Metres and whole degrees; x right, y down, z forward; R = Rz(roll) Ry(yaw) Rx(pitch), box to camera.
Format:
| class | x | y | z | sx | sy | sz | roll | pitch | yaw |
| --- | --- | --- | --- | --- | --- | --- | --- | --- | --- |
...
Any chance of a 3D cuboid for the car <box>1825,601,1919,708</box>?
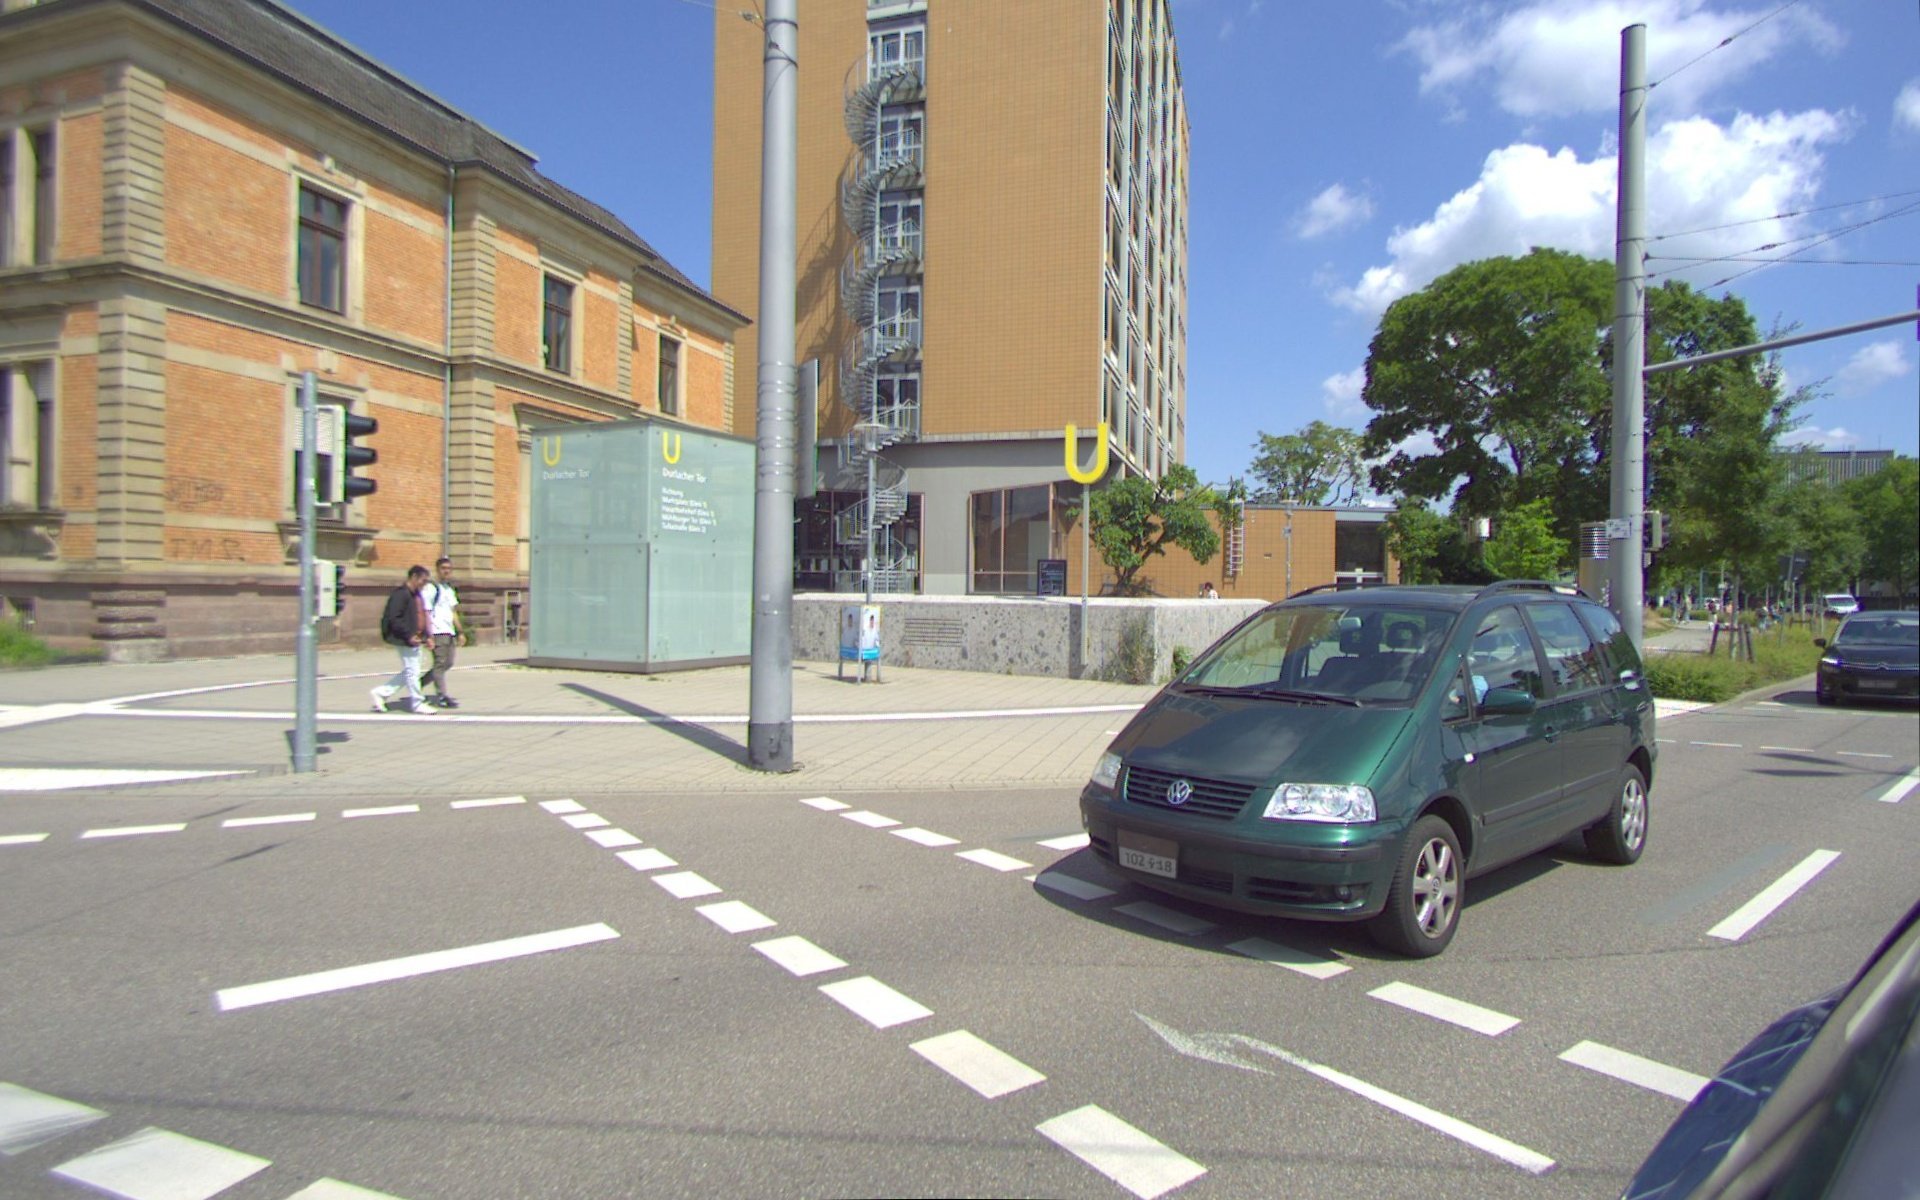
| class | x | y | z | sx | sy | sz | roll | pitch | yaw |
| --- | --- | --- | --- | --- | --- | --- | --- | --- | --- |
| car | 16.628 | 0.871 | 17.812 | 1.858 | 1.643 | 4.448 | -1 | 0 | 44 |

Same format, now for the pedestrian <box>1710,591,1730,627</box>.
| class | x | y | z | sx | sy | sz | roll | pitch | yaw |
| --- | --- | --- | --- | --- | --- | --- | --- | --- | --- |
| pedestrian | 40.194 | 0.477 | 53.534 | 0.752 | 1.844 | 0.631 | -2 | 0 | 30 |

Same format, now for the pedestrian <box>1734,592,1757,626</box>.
| class | x | y | z | sx | sy | sz | roll | pitch | yaw |
| --- | --- | --- | --- | --- | --- | --- | --- | --- | --- |
| pedestrian | 43.794 | 0.471 | 56.459 | 0.750 | 1.843 | 0.774 | 3 | 2 | 24 |

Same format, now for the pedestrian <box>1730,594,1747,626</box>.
| class | x | y | z | sx | sy | sz | roll | pitch | yaw |
| --- | --- | --- | --- | --- | --- | --- | --- | --- | --- |
| pedestrian | 40.880 | 0.541 | 53.157 | 0.584 | 1.646 | 0.720 | -2 | 0 | 30 |

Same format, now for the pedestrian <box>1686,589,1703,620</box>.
| class | x | y | z | sx | sy | sz | roll | pitch | yaw |
| --- | --- | --- | --- | --- | --- | --- | --- | --- | --- |
| pedestrian | 44.945 | 0.275 | 61.905 | 0.745 | 1.825 | 0.603 | 1 | 0 | 29 |

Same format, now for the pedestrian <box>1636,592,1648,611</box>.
| class | x | y | z | sx | sy | sz | roll | pitch | yaw |
| --- | --- | --- | --- | --- | --- | --- | --- | --- | --- |
| pedestrian | 66.420 | 0.165 | 98.538 | 0.742 | 1.800 | 0.877 | 1 | 0 | 16 |

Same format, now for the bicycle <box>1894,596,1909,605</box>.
| class | x | y | z | sx | sy | sz | roll | pitch | yaw |
| --- | --- | --- | --- | --- | --- | --- | --- | --- | --- |
| bicycle | 111.407 | 0.076 | 119.733 | 0.391 | 1.056 | 1.580 | 0 | 0 | 7 |

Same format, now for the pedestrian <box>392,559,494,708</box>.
| class | x | y | z | sx | sy | sz | roll | pitch | yaw |
| --- | --- | --- | --- | --- | --- | --- | --- | --- | --- |
| pedestrian | -6.437 | 0.387 | 12.633 | 0.746 | 1.773 | 0.861 | 1 | 2 | 13 |

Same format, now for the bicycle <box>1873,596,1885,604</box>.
| class | x | y | z | sx | sy | sz | roll | pitch | yaw |
| --- | --- | --- | --- | --- | --- | --- | --- | --- | --- |
| bicycle | 111.829 | 0.013 | 123.164 | 0.371 | 1.056 | 1.413 | 0 | 0 | 7 |

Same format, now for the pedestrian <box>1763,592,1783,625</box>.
| class | x | y | z | sx | sy | sz | roll | pitch | yaw |
| --- | --- | --- | --- | --- | --- | --- | --- | --- | --- |
| pedestrian | 42.004 | 0.420 | 52.284 | 0.762 | 1.646 | 0.651 | -1 | 3 | -44 |

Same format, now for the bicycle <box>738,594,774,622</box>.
| class | x | y | z | sx | sy | sz | roll | pitch | yaw |
| --- | --- | --- | --- | --- | --- | --- | --- | --- | --- |
| bicycle | -8.175 | 0.322 | 40.616 | 0.370 | 1.058 | 1.941 | -2 | 0 | 24 |

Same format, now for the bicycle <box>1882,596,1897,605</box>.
| class | x | y | z | sx | sy | sz | roll | pitch | yaw |
| --- | --- | --- | --- | --- | --- | --- | --- | --- | --- |
| bicycle | 111.623 | 0.026 | 121.558 | 0.391 | 1.056 | 1.758 | 0 | 0 | 7 |

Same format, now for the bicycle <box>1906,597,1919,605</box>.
| class | x | y | z | sx | sy | sz | roll | pitch | yaw |
| --- | --- | --- | --- | --- | --- | --- | --- | --- | --- |
| bicycle | 111.191 | 0.112 | 118.012 | 0.391 | 1.016 | 1.758 | 0 | 0 | 7 |

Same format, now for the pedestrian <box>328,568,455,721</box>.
| class | x | y | z | sx | sy | sz | roll | pitch | yaw |
| --- | --- | --- | --- | --- | --- | --- | --- | --- | --- |
| pedestrian | -6.602 | 0.479 | 11.786 | 0.952 | 1.677 | 0.861 | 1 | 2 | 13 |

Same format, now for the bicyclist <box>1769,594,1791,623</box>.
| class | x | y | z | sx | sy | sz | roll | pitch | yaw |
| --- | --- | --- | --- | --- | --- | --- | --- | --- | --- |
| bicyclist | 47.005 | 0.477 | 57.994 | 0.823 | 1.621 | 0.574 | 2 | 2 | 29 |

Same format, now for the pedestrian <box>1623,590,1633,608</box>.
| class | x | y | z | sx | sy | sz | roll | pitch | yaw |
| --- | --- | --- | --- | --- | --- | --- | --- | --- | --- |
| pedestrian | 65.263 | -0.124 | 98.897 | 0.659 | 1.769 | 0.606 | 1 | 0 | 16 |

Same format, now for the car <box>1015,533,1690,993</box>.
| class | x | y | z | sx | sy | sz | roll | pitch | yaw |
| --- | --- | --- | --- | --- | --- | --- | --- | --- | --- |
| car | 2.535 | 0.658 | 5.949 | 4.368 | 1.745 | 1.798 | 1 | -1 | -40 |

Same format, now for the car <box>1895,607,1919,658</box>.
| class | x | y | z | sx | sy | sz | roll | pitch | yaw |
| --- | --- | --- | --- | --- | --- | --- | --- | --- | --- |
| car | 30.343 | 0.968 | 31.502 | 1.760 | 1.436 | 4.296 | -3 | -1 | 43 |

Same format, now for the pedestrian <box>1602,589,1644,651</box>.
| class | x | y | z | sx | sy | sz | roll | pitch | yaw |
| --- | --- | --- | --- | --- | --- | --- | --- | --- | --- |
| pedestrian | 17.595 | 0.526 | 26.860 | 0.749 | 1.610 | 0.756 | -1 | 0 | -45 |

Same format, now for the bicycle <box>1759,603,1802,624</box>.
| class | x | y | z | sx | sy | sz | roll | pitch | yaw |
| --- | --- | --- | --- | --- | --- | --- | --- | --- | --- |
| bicycle | 47.020 | 0.766 | 57.993 | 1.800 | 1.063 | 0.586 | 3 | 2 | 30 |

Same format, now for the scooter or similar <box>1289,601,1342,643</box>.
| class | x | y | z | sx | sy | sz | roll | pitch | yaw |
| --- | --- | --- | --- | --- | --- | --- | --- | --- | --- |
| scooter or similar | 9.988 | 0.615 | 28.461 | 1.423 | 1.138 | 0.231 | 1 | -1 | -6 |

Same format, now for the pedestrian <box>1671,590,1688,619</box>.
| class | x | y | z | sx | sy | sz | roll | pitch | yaw |
| --- | --- | --- | --- | --- | --- | --- | --- | --- | --- |
| pedestrian | 44.179 | 0.264 | 62.147 | 0.745 | 1.774 | 0.603 | 1 | 0 | 29 |

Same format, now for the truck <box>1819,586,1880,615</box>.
| class | x | y | z | sx | sy | sz | roll | pitch | yaw |
| --- | --- | --- | --- | --- | --- | --- | --- | --- | --- |
| truck | 75.116 | 0.059 | 85.549 | 2.440 | 2.330 | 5.759 | -3 | -1 | 27 |
